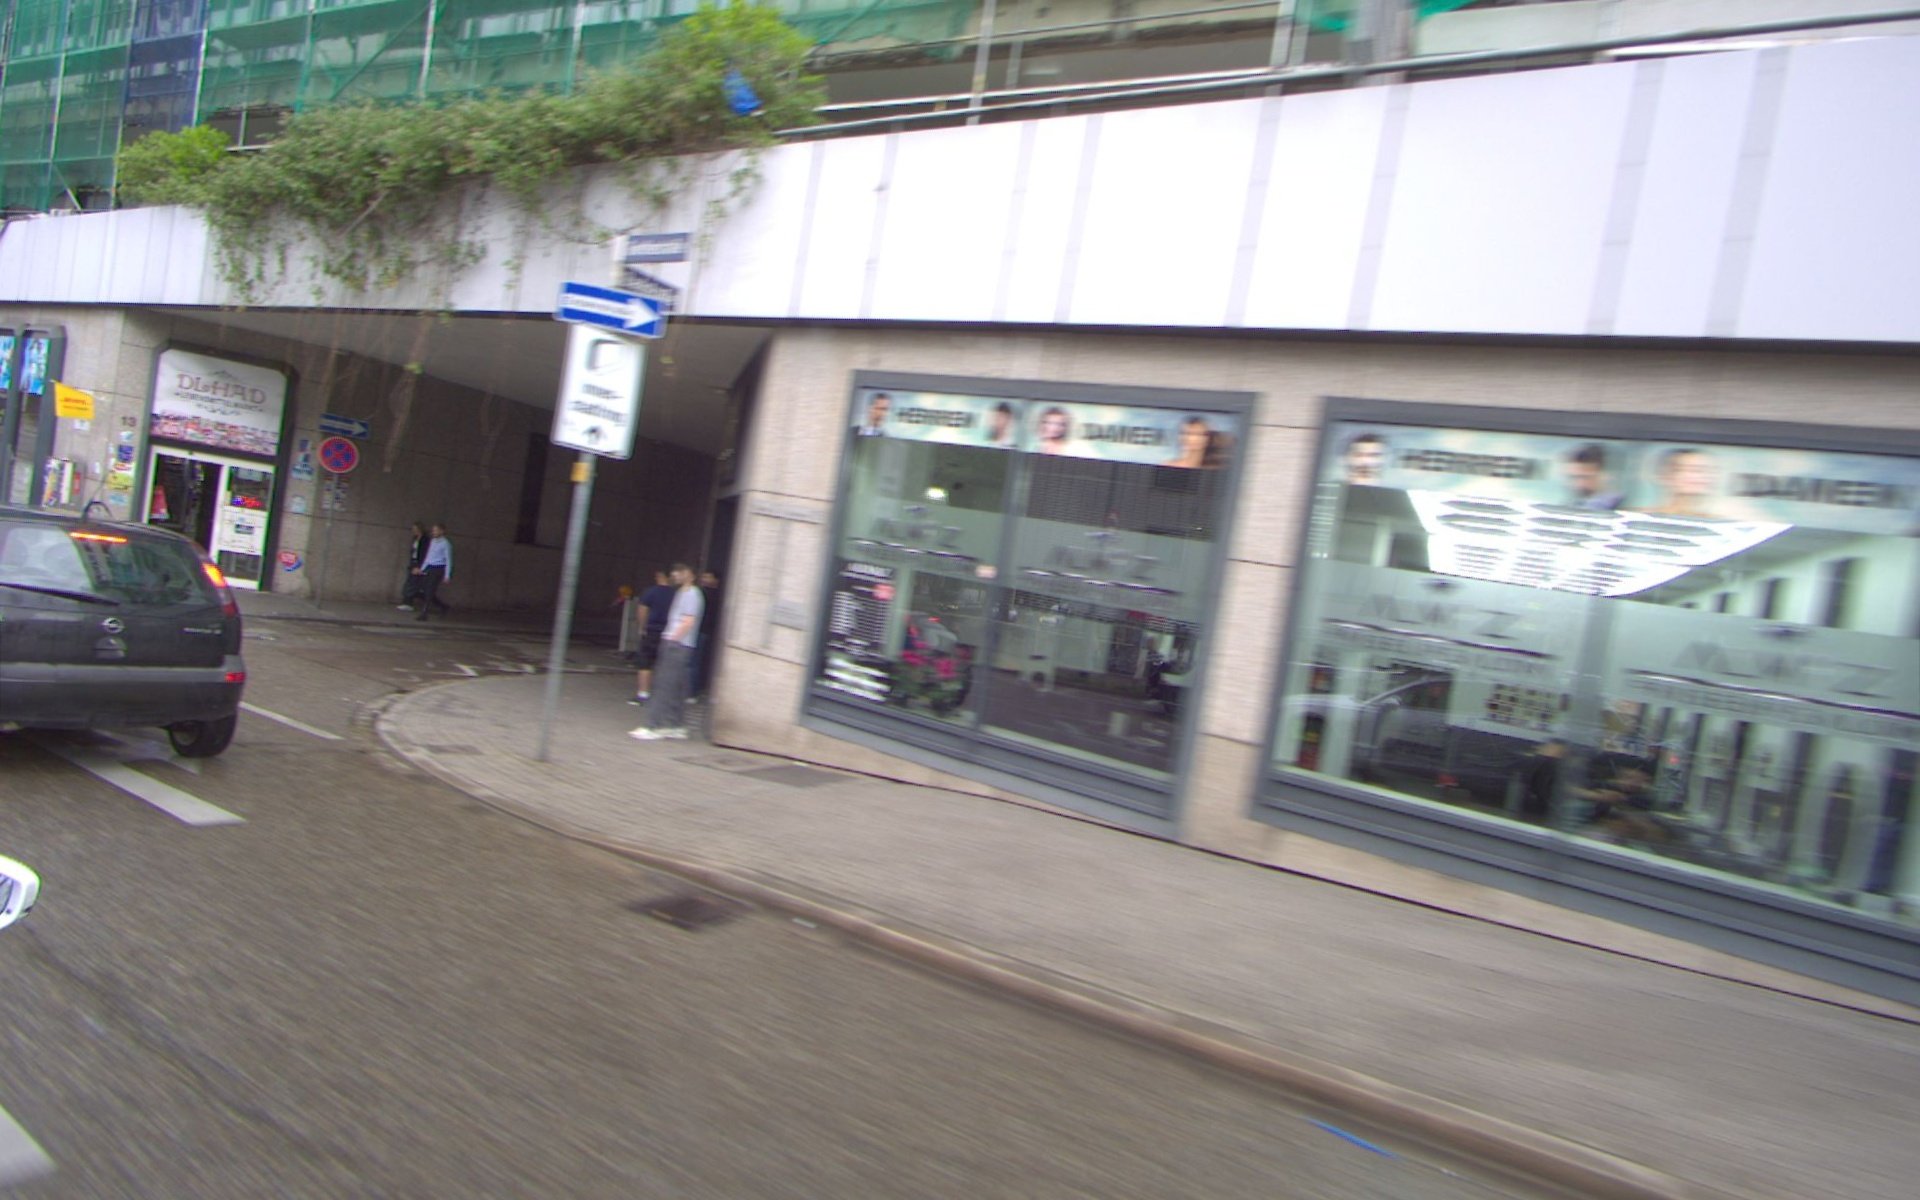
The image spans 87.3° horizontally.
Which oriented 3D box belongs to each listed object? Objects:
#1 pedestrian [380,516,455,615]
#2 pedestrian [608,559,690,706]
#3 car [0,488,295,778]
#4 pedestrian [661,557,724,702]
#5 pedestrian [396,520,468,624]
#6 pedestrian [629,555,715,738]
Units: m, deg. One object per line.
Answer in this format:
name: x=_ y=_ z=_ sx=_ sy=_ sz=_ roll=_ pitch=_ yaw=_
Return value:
pedestrian: x=-10.652 y=-0.661 z=19.746 sx=0.756 sy=1.743 sz=0.719 roll=16 pitch=4 yaw=27
pedestrian: x=-3.803 y=0.399 z=12.280 sx=0.596 sy=1.683 sz=0.568 roll=7 pitch=2 yaw=-39
car: x=-6.197 y=0.025 z=6.485 sx=3.707 sy=1.438 sz=1.719 roll=8 pitch=0 yaw=32
pedestrian: x=-3.451 y=0.368 z=12.932 sx=0.508 sy=1.757 sz=0.635 roll=7 pitch=2 yaw=-21
pedestrian: x=-9.990 y=-0.522 z=19.037 sx=0.824 sy=1.802 sz=0.616 roll=14 pitch=5 yaw=27
pedestrian: x=-2.781 y=0.440 z=9.688 sx=0.633 sy=1.671 sz=0.560 roll=5 pitch=2 yaw=-19
